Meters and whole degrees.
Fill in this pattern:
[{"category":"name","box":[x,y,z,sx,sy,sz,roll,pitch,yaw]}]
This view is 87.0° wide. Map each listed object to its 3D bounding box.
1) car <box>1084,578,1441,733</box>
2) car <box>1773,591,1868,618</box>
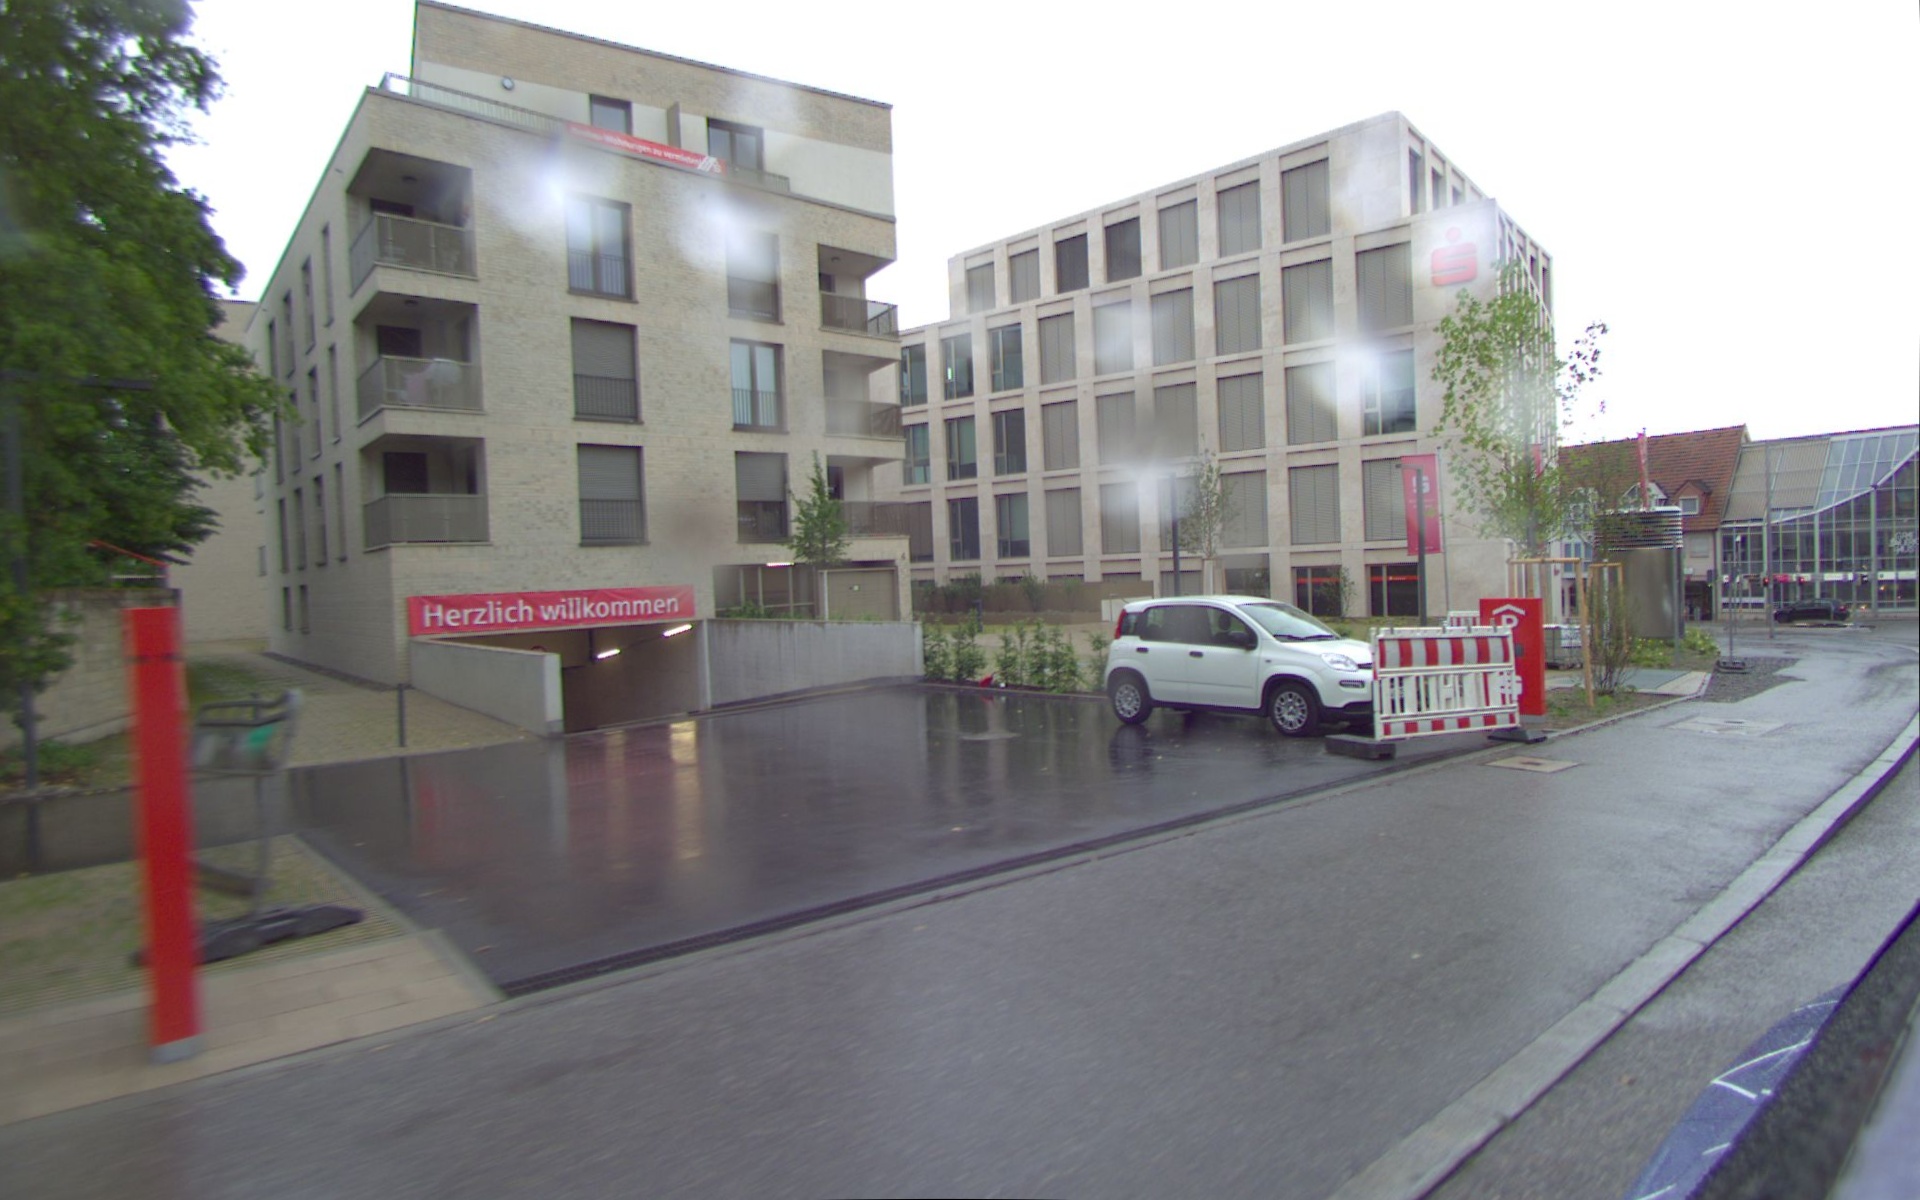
[{"category":"car","box":[3.426,0.585,11.966,1.745,1.522,3.672,0,-1,-41]},{"category":"car","box":[51.754,0.251,60.934,1.962,1.562,3.999,0,0,-35]}]
